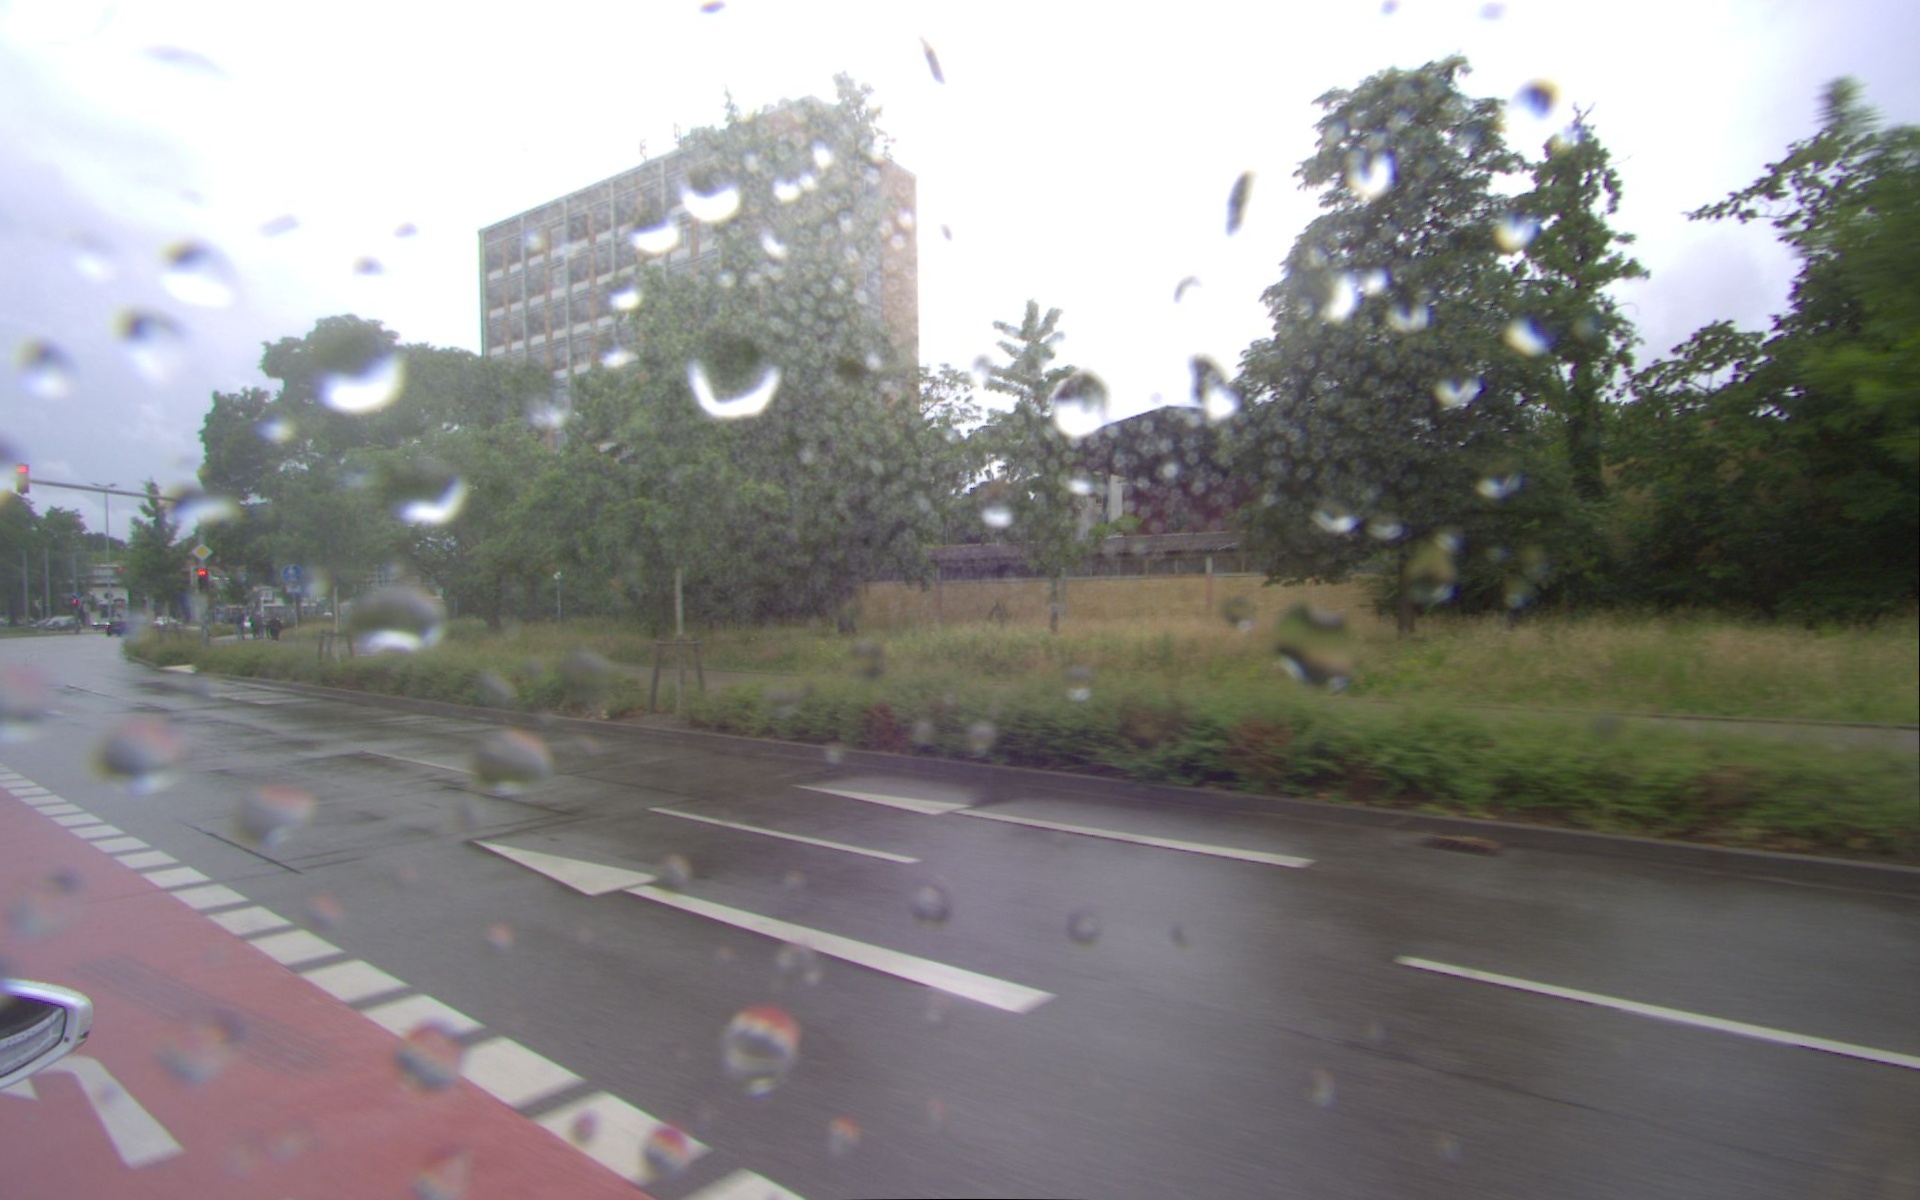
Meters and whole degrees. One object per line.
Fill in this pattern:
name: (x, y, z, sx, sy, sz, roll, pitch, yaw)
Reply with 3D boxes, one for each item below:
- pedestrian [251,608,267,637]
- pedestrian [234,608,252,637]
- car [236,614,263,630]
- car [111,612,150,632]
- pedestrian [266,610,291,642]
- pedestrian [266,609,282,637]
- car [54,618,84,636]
pedestrian: (-40.281, 1.288, 57.505, 0.697, 1.609, 0.929, -1, 0, -38)
pedestrian: (-40.843, 1.283, 57.033, 0.747, 1.609, 0.929, -1, 0, -38)
car: (-77.236, 2.391, 108.863, 1.768, 1.665, 4.142, 0, 0, -26)
car: (-73.709, 1.940, 89.034, 1.768, 1.665, 4.142, 0, 0, -26)
pedestrian: (-35.590, 1.346, 52.296, 1.014, 1.609, 0.929, -1, 0, -38)
pedestrian: (-39.675, 1.300, 57.888, 0.697, 1.609, 0.929, -1, 0, -38)
car: (-98.591, 2.952, 110.828, 1.675, 1.714, 4.159, -1, 2, -30)
